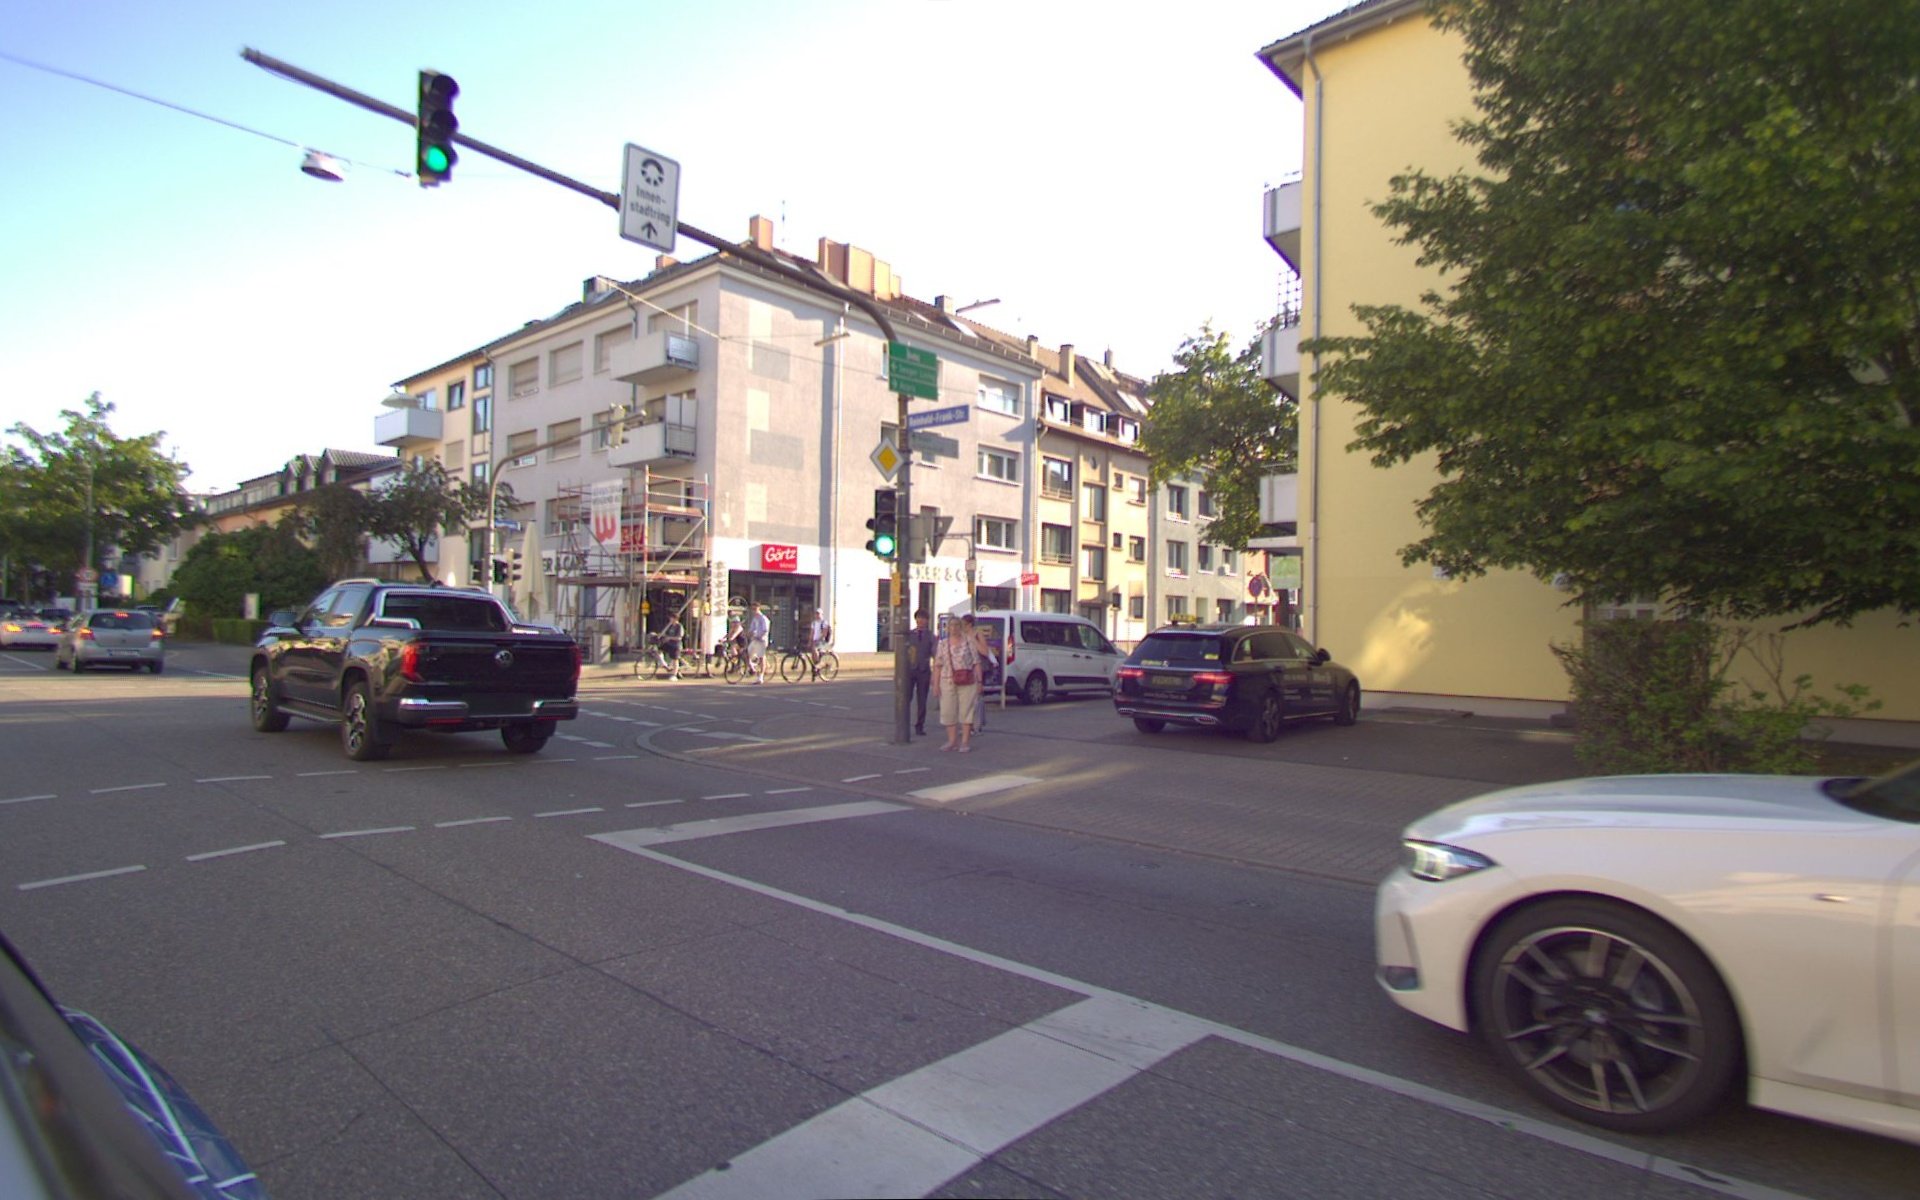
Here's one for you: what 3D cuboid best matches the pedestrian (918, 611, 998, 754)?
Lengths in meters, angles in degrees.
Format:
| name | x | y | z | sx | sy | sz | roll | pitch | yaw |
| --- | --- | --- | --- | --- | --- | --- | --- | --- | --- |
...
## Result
| name | x | y | z | sx | sy | sz | roll | pitch | yaw |
| --- | --- | --- | --- | --- | --- | --- | --- | --- | --- |
| pedestrian | -0.028 | 0.949 | 12.026 | 0.749 | 1.606 | 0.601 | 1 | 1 | 39 |

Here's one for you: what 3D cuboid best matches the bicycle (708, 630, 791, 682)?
| name | x | y | z | sx | sy | sz | roll | pitch | yaw |
| --- | --- | --- | --- | --- | --- | --- | --- | --- | --- |
| bicycle | -5.000 | 1.321 | 24.111 | 0.726 | 1.175 | 1.975 | -2 | -3 | 35 |

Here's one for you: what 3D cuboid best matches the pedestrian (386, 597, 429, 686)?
| name | x | y | z | sx | sy | sz | roll | pitch | yaw |
| --- | --- | --- | --- | --- | --- | --- | --- | --- | --- |
| pedestrian | -12.968 | 0.956 | 23.763 | 0.814 | 2.029 | 0.637 | 1 | 0 | 43 |

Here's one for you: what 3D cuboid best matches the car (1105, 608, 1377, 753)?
| name | x | y | z | sx | sy | sz | roll | pitch | yaw |
| --- | --- | --- | --- | --- | --- | --- | --- | --- | --- |
| car | 3.989 | 0.937 | 13.842 | 1.842 | 1.626 | 4.543 | 0 | 0 | 41 |

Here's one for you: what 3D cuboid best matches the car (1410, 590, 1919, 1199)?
| name | x | y | z | sx | sy | sz | roll | pitch | yaw |
| --- | --- | --- | --- | --- | --- | --- | --- | --- | --- |
| car | 3.796 | 0.759 | 2.399 | 4.670 | 1.485 | 1.817 | 0 | -4 | 42 |

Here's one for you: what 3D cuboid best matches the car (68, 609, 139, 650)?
| name | x | y | z | sx | sy | sz | roll | pitch | yaw |
| --- | --- | --- | --- | --- | --- | --- | --- | --- | --- |
| car | -34.215 | 1.166 | 40.387 | 3.572 | 1.547 | 1.732 | 0 | -2 | 43 |

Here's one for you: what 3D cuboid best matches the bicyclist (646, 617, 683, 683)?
| name | x | y | z | sx | sy | sz | roll | pitch | yaw |
| --- | --- | --- | --- | --- | --- | --- | --- | --- | --- |
| bicyclist | -7.661 | 1.297 | 26.247 | 0.662 | 1.666 | 0.751 | 2 | -3 | -38 |

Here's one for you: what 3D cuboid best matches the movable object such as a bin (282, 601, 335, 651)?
| name | x | y | z | sx | sy | sz | roll | pitch | yaw |
| --- | --- | --- | --- | --- | --- | --- | --- | --- | --- |
| movable object such as a bin | -23.260 | 0.916 | 36.123 | 1.180 | 1.670 | 1.292 | 1 | 2 | 41 |

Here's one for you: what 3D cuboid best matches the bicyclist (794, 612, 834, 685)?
| name | x | y | z | sx | sy | sz | roll | pitch | yaw |
| --- | --- | --- | --- | --- | --- | --- | --- | --- | --- |
| bicyclist | -3.560 | 1.172 | 24.659 | 0.748 | 1.734 | 0.601 | -2 | -3 | 36 |

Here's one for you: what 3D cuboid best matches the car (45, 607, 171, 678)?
| name | x | y | z | sx | sy | sz | roll | pitch | yaw |
| --- | --- | --- | --- | --- | --- | --- | --- | --- | --- |
| car | -20.699 | 0.973 | 24.536 | 3.999 | 1.569 | 1.785 | 0 | -2 | 42 |

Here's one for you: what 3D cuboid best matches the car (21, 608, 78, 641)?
| name | x | y | z | sx | sy | sz | roll | pitch | yaw |
| --- | --- | --- | --- | --- | --- | --- | --- | --- | --- |
| car | -46.538 | 1.222 | 51.705 | 4.196 | 1.626 | 1.711 | 0 | -2 | 42 |

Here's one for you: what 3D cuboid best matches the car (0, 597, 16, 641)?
| name | x | y | z | sx | sy | sz | roll | pitch | yaw |
| --- | --- | --- | --- | --- | --- | --- | --- | --- | --- |
| car | -43.315 | 0.814 | 44.753 | 4.407 | 1.891 | 1.818 | 0 | -2 | 41 |

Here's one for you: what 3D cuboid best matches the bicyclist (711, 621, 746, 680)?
| name | x | y | z | sx | sy | sz | roll | pitch | yaw |
| --- | --- | --- | --- | --- | --- | --- | --- | --- | --- |
| bicyclist | -6.511 | 1.409 | 28.426 | 0.677 | 1.606 | 0.752 | 3 | -1 | -29 |

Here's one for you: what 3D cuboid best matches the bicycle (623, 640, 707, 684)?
| name | x | y | z | sx | sy | sz | roll | pitch | yaw |
| --- | --- | --- | --- | --- | --- | --- | --- | --- | --- |
| bicycle | -7.640 | 1.598 | 26.257 | 1.967 | 1.097 | 0.729 | 2 | -3 | -39 |

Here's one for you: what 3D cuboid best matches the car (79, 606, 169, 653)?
| name | x | y | z | sx | sy | sz | roll | pitch | yaw |
| --- | --- | --- | --- | --- | --- | --- | --- | --- | --- |
| car | -30.821 | 1.076 | 37.300 | 3.947 | 1.626 | 1.787 | 0 | -2 | 39 |

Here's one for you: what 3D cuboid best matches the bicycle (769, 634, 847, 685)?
| name | x | y | z | sx | sy | sz | roll | pitch | yaw |
| --- | --- | --- | --- | --- | --- | --- | --- | --- | --- |
| bicycle | -3.656 | 1.417 | 24.515 | 0.726 | 1.166 | 1.975 | -2 | -3 | 35 |

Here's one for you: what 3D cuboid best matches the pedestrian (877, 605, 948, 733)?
| name | x | y | z | sx | sy | sz | roll | pitch | yaw |
| --- | --- | --- | --- | --- | --- | --- | --- | --- | --- |
| pedestrian | -0.639 | 0.915 | 13.730 | 0.607 | 1.670 | 0.741 | 0 | -2 | 35 |

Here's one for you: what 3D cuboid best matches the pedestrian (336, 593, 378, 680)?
| name | x | y | z | sx | sy | sz | roll | pitch | yaw |
| --- | --- | --- | --- | --- | --- | --- | --- | --- | --- |
| pedestrian | -14.508 | 0.869 | 24.343 | 0.739 | 2.029 | 0.630 | -1 | -2 | 43 |

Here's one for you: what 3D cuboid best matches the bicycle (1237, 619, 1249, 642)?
| name | x | y | z | sx | sy | sz | roll | pitch | yaw |
| --- | --- | --- | --- | --- | --- | --- | --- | --- | --- |
| bicycle | 16.400 | 1.789 | 58.636 | 0.596 | 1.309 | 0.425 | 0 | -2 | 39 |

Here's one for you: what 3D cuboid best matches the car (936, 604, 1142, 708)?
| name | x | y | z | sx | sy | sz | roll | pitch | yaw |
| --- | --- | --- | --- | --- | --- | --- | --- | --- | --- |
| car | 1.702 | 1.078 | 20.523 | 1.907 | 1.862 | 4.425 | 0 | -2 | 41 |

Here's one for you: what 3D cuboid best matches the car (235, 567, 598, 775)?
| name | x | y | z | sx | sy | sz | roll | pitch | yaw |
| --- | --- | --- | --- | --- | --- | --- | --- | --- | --- |
| car | -6.320 | 0.694 | 11.431 | 5.225 | 1.843 | 1.842 | 0 | -4 | 42 |

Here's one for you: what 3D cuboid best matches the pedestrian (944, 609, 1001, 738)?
| name | x | y | z | sx | sy | sz | roll | pitch | yaw |
| --- | --- | --- | --- | --- | --- | --- | --- | --- | --- |
| pedestrian | 0.164 | 0.959 | 13.610 | 0.598 | 1.641 | 0.752 | -1 | 2 | -12 |

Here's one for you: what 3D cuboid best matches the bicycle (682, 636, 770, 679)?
| name | x | y | z | sx | sy | sz | roll | pitch | yaw |
| --- | --- | --- | --- | --- | --- | --- | --- | --- | --- |
| bicycle | -6.564 | 1.615 | 28.402 | 2.233 | 1.097 | 0.730 | 3 | -1 | -29 |

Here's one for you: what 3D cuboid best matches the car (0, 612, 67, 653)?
| name | x | y | z | sx | sy | sz | roll | pitch | yaw |
| --- | --- | --- | --- | --- | --- | --- | --- | --- | --- |
| car | -32.720 | 1.103 | 35.358 | 4.441 | 1.330 | 1.821 | 0 | -3 | 43 |

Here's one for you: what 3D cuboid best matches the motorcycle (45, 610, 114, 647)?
| name | x | y | z | sx | sy | sz | roll | pitch | yaw |
| --- | --- | --- | --- | --- | --- | --- | --- | --- | --- |
| motorcycle | -37.695 | 1.208 | 43.300 | 2.877 | 1.547 | 1.250 | 0 | -2 | 28 |
